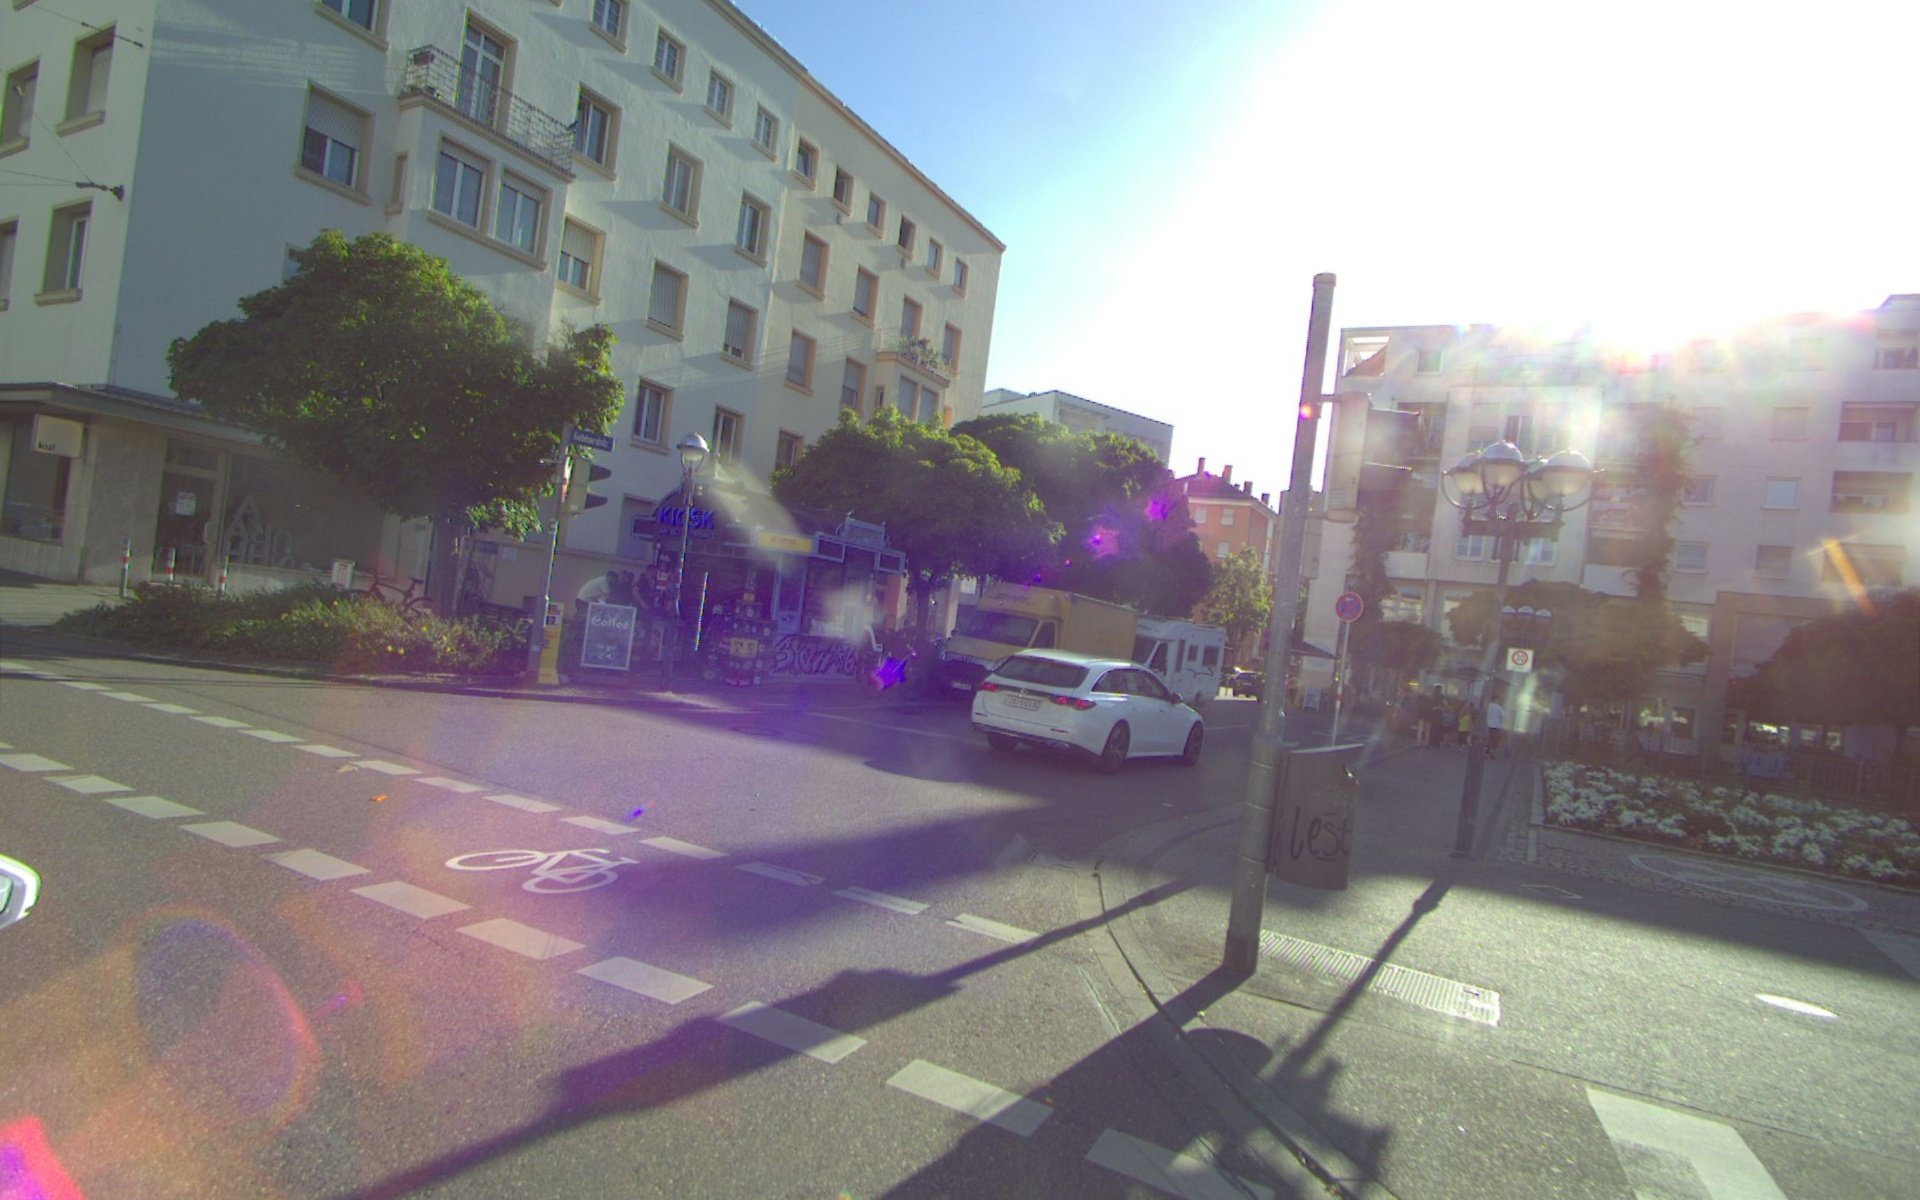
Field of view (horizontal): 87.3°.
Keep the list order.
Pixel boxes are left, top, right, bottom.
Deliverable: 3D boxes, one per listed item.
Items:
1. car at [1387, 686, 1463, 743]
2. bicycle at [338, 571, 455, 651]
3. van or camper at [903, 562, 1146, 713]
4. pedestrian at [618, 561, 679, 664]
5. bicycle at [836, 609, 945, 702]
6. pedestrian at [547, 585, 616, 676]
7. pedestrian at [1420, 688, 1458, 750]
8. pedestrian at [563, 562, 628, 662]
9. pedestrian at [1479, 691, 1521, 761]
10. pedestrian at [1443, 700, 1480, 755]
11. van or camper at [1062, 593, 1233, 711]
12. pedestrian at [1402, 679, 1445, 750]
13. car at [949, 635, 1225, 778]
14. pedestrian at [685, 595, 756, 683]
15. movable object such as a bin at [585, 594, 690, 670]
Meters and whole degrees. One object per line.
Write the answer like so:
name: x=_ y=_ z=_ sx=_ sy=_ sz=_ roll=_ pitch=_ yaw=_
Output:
car: x=15.571 y=3.808 z=33.896 sx=1.963 sy=1.503 sz=4.001 roll=7 pitch=-2 yaw=22
bicycle: x=-9.332 y=0.195 z=16.710 sx=0.296 sy=1.133 sz=1.566 roll=6 pitch=-3 yaw=41
van or camper: x=1.801 y=1.048 z=23.663 sx=2.331 sy=2.779 sz=7.134 roll=9 pitch=-1 yaw=32
pedestrian: x=-5.970 y=0.241 z=19.300 sx=0.648 sy=1.861 sz=0.654 roll=7 pitch=0 yaw=34
bicycle: x=-1.302 y=1.114 z=19.445 sx=0.714 sy=1.548 sz=2.392 roll=7 pitch=-3 yaw=30
pedestrian: x=-5.958 y=0.478 z=15.841 sx=0.736 sy=1.331 sz=0.622 roll=7 pitch=-1 yaw=-36
pedestrian: x=13.195 y=3.267 z=27.683 sx=0.651 sy=1.604 sz=0.902 roll=7 pitch=-1 yaw=34
pedestrian: x=-7.226 y=0.238 z=19.954 sx=0.667 sy=1.861 sz=0.785 roll=7 pitch=0 yaw=34
pedestrian: x=13.313 y=3.101 z=24.795 sx=0.651 sy=1.604 sz=0.902 roll=7 pitch=-1 yaw=34
pedestrian: x=12.691 y=3.212 z=25.458 sx=0.595 sy=1.295 sz=0.902 roll=7 pitch=-1 yaw=34
van or camper: x=5.720 y=1.653 z=29.809 sx=2.340 sy=2.873 sz=6.412 roll=7 pitch=-2 yaw=34
pedestrian: x=11.985 y=2.961 z=26.000 sx=0.684 sy=1.705 sz=0.902 roll=7 pitch=-1 yaw=34
car: x=2.048 y=1.556 z=14.578 sx=1.959 sy=1.480 sz=4.809 roll=7 pitch=-2 yaw=33
pedestrian: x=-4.299 y=0.710 z=18.059 sx=0.742 sy=1.426 sz=0.731 roll=10 pitch=1 yaw=31
movable object such as a bin: x=-5.805 y=0.590 z=18.133 sx=1.197 sy=1.166 sz=1.201 roll=7 pitch=-1 yaw=32
